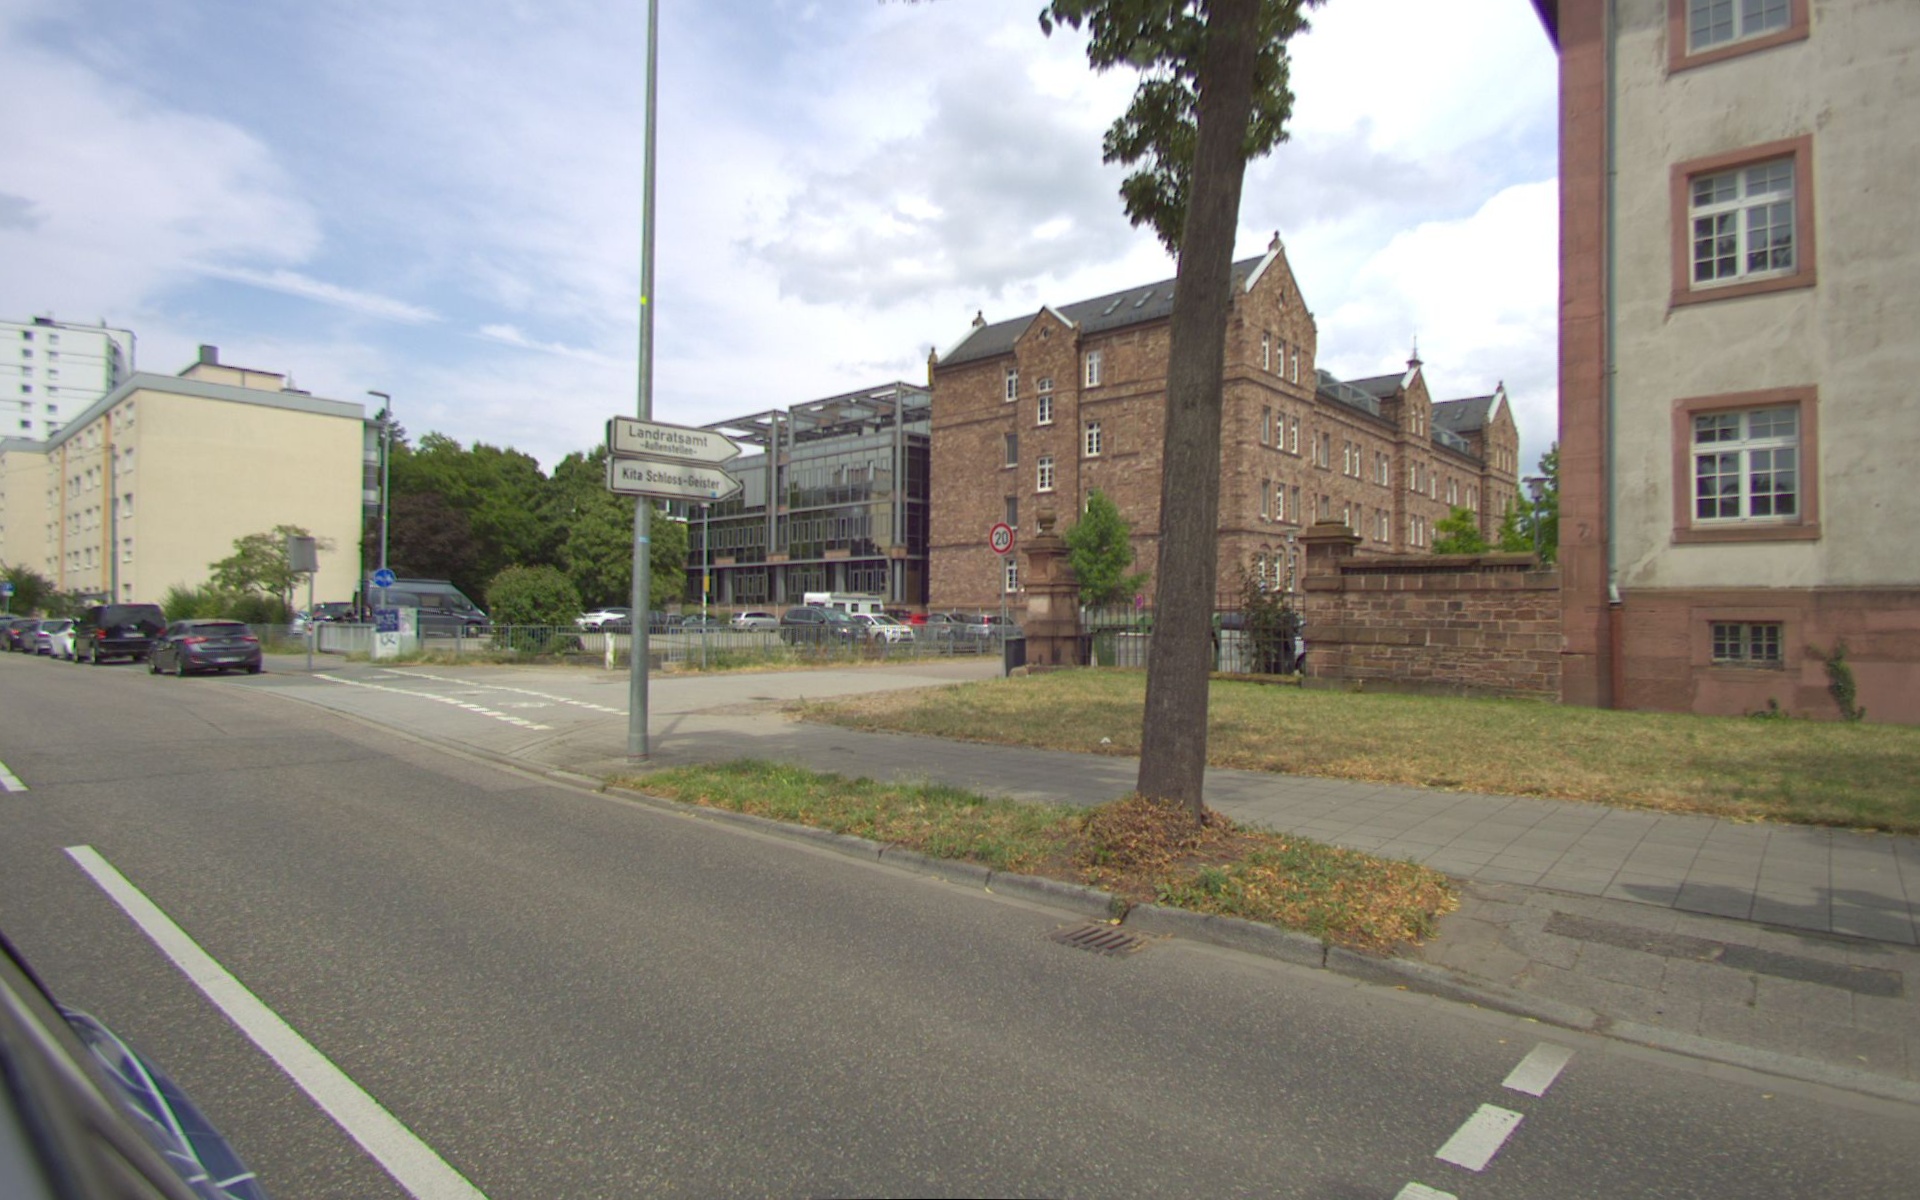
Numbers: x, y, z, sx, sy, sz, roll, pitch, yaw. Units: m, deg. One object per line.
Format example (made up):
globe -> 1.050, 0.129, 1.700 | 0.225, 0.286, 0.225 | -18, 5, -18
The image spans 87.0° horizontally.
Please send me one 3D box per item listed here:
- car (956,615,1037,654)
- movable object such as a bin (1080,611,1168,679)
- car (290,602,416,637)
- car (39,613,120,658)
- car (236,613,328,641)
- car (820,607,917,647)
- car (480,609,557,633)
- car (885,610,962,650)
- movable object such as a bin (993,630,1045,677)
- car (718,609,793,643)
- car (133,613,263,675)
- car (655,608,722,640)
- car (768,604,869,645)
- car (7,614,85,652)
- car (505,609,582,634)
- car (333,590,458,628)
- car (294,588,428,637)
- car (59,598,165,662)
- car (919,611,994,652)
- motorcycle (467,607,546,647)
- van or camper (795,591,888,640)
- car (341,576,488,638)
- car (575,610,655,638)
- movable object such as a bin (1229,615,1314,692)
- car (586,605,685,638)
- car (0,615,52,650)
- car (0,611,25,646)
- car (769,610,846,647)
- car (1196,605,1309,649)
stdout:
car -> 1.990, 1.834, 53.627 | 1.875, 1.952, 4.457 | -1, -3, 42
movable object such as a bin -> 3.726, 0.991, 23.018 | 1.570, 1.479, 1.188 | -1, -2, 42
car -> -30.048, 0.990, 50.221 | 2.001, 1.686, 5.029 | -2, -2, 43
car -> -32.534, 1.287, 37.367 | 3.760, 1.541, 1.638 | -1, -1, 39
car -> -37.702, 1.480, 56.321 | 3.940, 1.494, 2.002 | 2, -1, -44
car -> -4.181, 1.191, 45.817 | 4.232, 1.669, 1.944 | 0, -1, 40
car -> -27.860, 1.322, 63.945 | 1.982, 1.494, 3.946 | 0, -1, 41
car -> -2.026, 1.732, 57.036 | 1.804, 2.153, 4.314 | -1, -3, 42
movable object such as a bin -> 1.384, 1.237, 23.627 | 0.709, 1.041, 1.027 | -1, -2, 42
car -> -13.436, 1.745, 66.676 | 2.205, 2.153, 4.311 | -1, -3, 45
car -> -20.510, 1.138, 27.189 | 4.293, 1.484, 1.804 | -1, 0, 39
car -> -19.162, 1.714, 71.530 | 1.969, 2.153, 4.175 | -1, -3, 40
car -> -6.116, 1.035, 43.488 | 4.232, 1.669, 1.944 | 0, -1, 40
car -> -36.997, 1.322, 40.929 | 4.258, 1.468, 1.671 | -1, -2, 39
car -> -25.593, 1.323, 62.292 | 1.857, 1.494, 3.946 | 0, -1, 40
car -> -26.003, 0.462, 46.728 | 2.000, 1.630, 4.645 | -2, -2, 42
car -> -28.440, 0.658, 48.165 | 2.228, 2.166, 5.029 | -2, -3, 43
car -> -28.408, 0.973, 33.861 | 4.840, 2.019, 1.929 | -1, -1, 40
car -> -0.145, 1.771, 55.520 | 1.726, 2.153, 4.316 | -1, -3, 41
motorcycle -> -13.909, 0.841, 31.094 | 2.066, 1.151, 0.725 | 4, -3, -45
van or camper -> -6.934, 0.947, 59.584 | 2.579, 2.723, 4.997 | -1, -2, 40
car -> -24.103, 0.264, 44.871 | 2.354, 2.571, 5.254 | -1, 0, 42
car -> -19.624, 1.357, 57.690 | 1.616, 1.494, 4.112 | 0, -1, 40
movable object such as a bin -> 6.231, 1.044, 20.288 | 1.557, 1.479, 1.324 | 0, -1, 17
car -> -17.866, 1.194, 55.858 | 2.330, 1.677, 4.641 | -1, -3, 43
car -> -41.486, 1.413, 44.631 | 4.046, 1.481, 1.670 | -1, -1, 41
car -> -45.943, 1.333, 47.999 | 3.993, 1.587, 1.607 | 0, -2, 37
car -> -9.573, 1.818, 63.705 | 2.205, 2.153, 4.311 | -1, -3, 45
car -> 11.850, 1.109, 41.192 | 4.168, 1.724, 1.566 | -2, -3, 44
